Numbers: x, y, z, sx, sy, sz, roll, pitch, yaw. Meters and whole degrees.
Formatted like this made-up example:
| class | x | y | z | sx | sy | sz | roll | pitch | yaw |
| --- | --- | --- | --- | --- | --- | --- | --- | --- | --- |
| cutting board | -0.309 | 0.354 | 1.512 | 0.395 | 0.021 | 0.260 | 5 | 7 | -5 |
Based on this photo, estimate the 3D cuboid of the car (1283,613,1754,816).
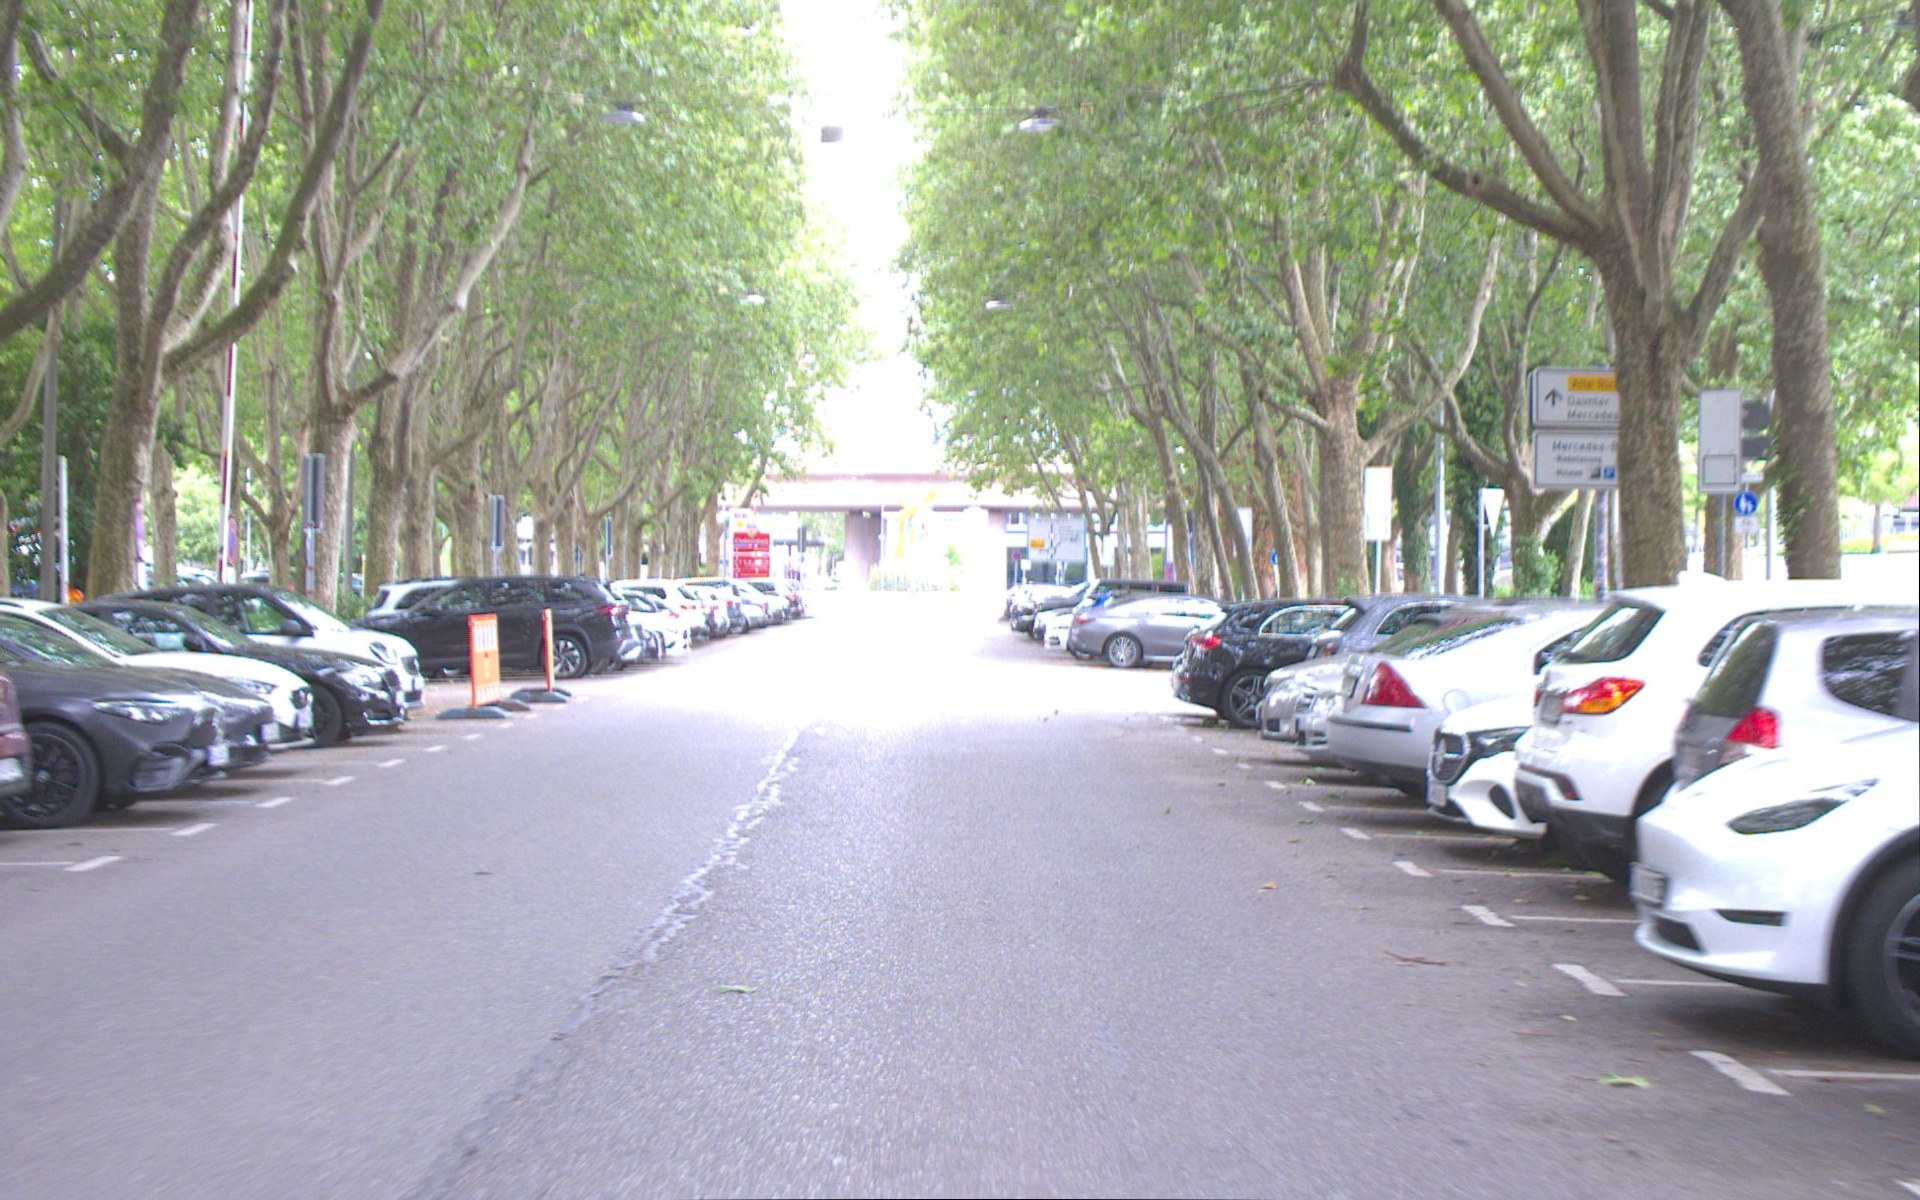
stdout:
| class | x | y | z | sx | sy | sz | roll | pitch | yaw |
| --- | --- | --- | --- | --- | --- | --- | --- | --- | --- |
| car | 4.317 | 0.871 | 26.894 | 3.425 | 1.419 | 1.519 | 2 | 0 | 2 |

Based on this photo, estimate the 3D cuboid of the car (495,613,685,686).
| class | x | y | z | sx | sy | sz | roll | pitch | yaw |
| --- | --- | --- | --- | --- | --- | --- | --- | --- | --- |
| car | -8.005 | 1.064 | 74.480 | 3.814 | 1.479 | 1.662 | -1 | 0 | 5 |

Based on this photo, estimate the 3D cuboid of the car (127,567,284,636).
| class | x | y | z | sx | sy | sz | roll | pitch | yaw |
| --- | --- | --- | --- | --- | --- | --- | --- | --- | --- |
| car | -23.806 | 0.037 | 108.610 | 4.352 | 2.008 | 2.175 | 2 | 0 | 3 |

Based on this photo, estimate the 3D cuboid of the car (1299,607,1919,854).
| class | x | y | z | sx | sy | sz | roll | pitch | yaw |
| --- | --- | --- | --- | --- | --- | --- | --- | --- | --- |
| car | 4.196 | 0.820 | 22.389 | 3.645 | 1.419 | 1.985 | 2 | 0 | -4 |

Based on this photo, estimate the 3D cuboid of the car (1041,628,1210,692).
| class | x | y | z | sx | sy | sz | roll | pitch | yaw |
| --- | --- | --- | --- | --- | --- | --- | --- | --- | --- |
| car | 4.139 | 1.500 | 86.362 | 4.048 | 1.464 | 1.731 | 2 | 0 | -3 |

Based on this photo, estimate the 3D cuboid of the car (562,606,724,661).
| class | x | y | z | sx | sy | sz | roll | pitch | yaw |
| --- | --- | --- | --- | --- | --- | --- | --- | --- | --- |
| car | -8.014 | 0.843 | 87.103 | 3.814 | 1.292 | 1.785 | -1 | 0 | 5 |

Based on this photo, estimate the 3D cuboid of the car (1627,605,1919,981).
| class | x | y | z | sx | sy | sz | roll | pitch | yaw |
| --- | --- | --- | --- | --- | --- | --- | --- | --- | --- |
| car | 4.944 | 0.840 | 15.021 | 3.645 | 1.514 | 1.644 | 2 | 0 | -4 |

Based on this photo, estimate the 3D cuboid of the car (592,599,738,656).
| class | x | y | z | sx | sy | sz | roll | pitch | yaw |
| --- | --- | --- | --- | --- | --- | --- | --- | --- | --- |
| car | -8.295 | 0.775 | 96.778 | 3.814 | 1.510 | 1.686 | -1 | 0 | 5 |

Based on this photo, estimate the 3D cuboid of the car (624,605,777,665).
| class | x | y | z | sx | sy | sz | roll | pitch | yaw |
| --- | --- | --- | --- | --- | --- | --- | --- | --- | --- |
| car | -6.910 | 0.926 | 91.747 | 3.814 | 1.510 | 1.686 | -1 | 0 | 5 |

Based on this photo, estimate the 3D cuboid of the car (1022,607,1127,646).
| class | x | y | z | sx | sy | sz | roll | pitch | yaw |
| --- | --- | --- | --- | --- | --- | --- | --- | --- | --- |
| car | 4.828 | 1.109 | 145.879 | 4.376 | 1.517 | 1.731 | 2 | 0 | 1 |

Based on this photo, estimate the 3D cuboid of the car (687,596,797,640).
| class | x | y | z | sx | sy | sz | roll | pitch | yaw |
| --- | --- | --- | --- | --- | --- | --- | --- | --- | --- |
| car | -7.976 | 0.672 | 126.103 | 3.814 | 1.510 | 1.686 | 1 | 0 | 3 |

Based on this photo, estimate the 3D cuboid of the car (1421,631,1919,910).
| class | x | y | z | sx | sy | sz | roll | pitch | yaw |
| --- | --- | --- | --- | --- | --- | --- | --- | --- | --- |
| car | 4.552 | 0.944 | 19.225 | 3.645 | 1.405 | 1.519 | 2 | 0 | -4 |

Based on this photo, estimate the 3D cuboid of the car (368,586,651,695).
| class | x | y | z | sx | sy | sz | roll | pitch | yaw |
| --- | --- | --- | --- | --- | --- | --- | --- | --- | --- |
| car | -7.442 | 0.666 | 57.099 | 4.471 | 1.671 | 1.762 | -1 | 0 | -2 |

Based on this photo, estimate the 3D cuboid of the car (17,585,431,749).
| class | x | y | z | sx | sy | sz | roll | pitch | yaw |
| --- | --- | --- | --- | --- | --- | --- | --- | --- | --- |
| car | -7.331 | 0.650 | 34.518 | 3.826 | 1.549 | 1.694 | -1 | 0 | -3 |

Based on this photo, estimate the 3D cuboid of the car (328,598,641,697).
| class | x | y | z | sx | sy | sz | roll | pitch | yaw |
| --- | --- | --- | --- | --- | --- | --- | --- | --- | --- |
| car | -7.453 | 0.733 | 54.214 | 4.664 | 1.422 | 2.000 | -1 | 0 | -2 |

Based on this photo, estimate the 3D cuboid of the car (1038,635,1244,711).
| class | x | y | z | sx | sy | sz | roll | pitch | yaw |
| --- | --- | --- | --- | --- | --- | --- | --- | --- | --- |
| car | 3.775 | 1.506 | 71.388 | 4.176 | 1.437 | 1.731 | 2 | 0 | 5 |

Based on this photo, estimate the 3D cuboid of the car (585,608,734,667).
| class | x | y | z | sx | sy | sz | roll | pitch | yaw |
| --- | --- | --- | --- | --- | --- | --- | --- | --- | --- |
| car | -8.275 | 1.027 | 94.733 | 3.814 | 1.510 | 1.686 | -1 | 0 | 5 |

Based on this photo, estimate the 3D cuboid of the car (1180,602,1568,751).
| class | x | y | z | sx | sy | sz | roll | pitch | yaw |
| --- | --- | --- | --- | --- | --- | --- | --- | --- | --- |
| car | 4.415 | 0.807 | 37.024 | 3.918 | 1.447 | 1.555 | 2 | 0 | -1 |

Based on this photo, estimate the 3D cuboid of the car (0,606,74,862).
| class | x | y | z | sx | sy | sz | roll | pitch | yaw |
| --- | --- | --- | --- | --- | --- | --- | --- | --- | --- |
| car | -7.257 | 0.775 | 19.794 | 3.827 | 1.425 | 1.694 | -1 | 0 | 4 |

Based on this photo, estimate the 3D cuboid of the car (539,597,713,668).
| class | x | y | z | sx | sy | sz | roll | pitch | yaw |
| --- | --- | --- | --- | --- | --- | --- | --- | --- | --- |
| car | -7.920 | 0.767 | 81.726 | 3.814 | 1.597 | 1.785 | -1 | 0 | 5 |

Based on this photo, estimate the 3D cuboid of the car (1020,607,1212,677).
| class | x | y | z | sx | sy | sz | roll | pitch | yaw |
| --- | --- | --- | --- | --- | --- | --- | --- | --- | --- |
| car | 3.483 | 0.923 | 76.359 | 4.176 | 1.437 | 1.731 | 2 | 0 | 5 |

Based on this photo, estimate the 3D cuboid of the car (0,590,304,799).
| class | x | y | z | sx | sy | sz | roll | pitch | yaw |
| --- | --- | --- | --- | --- | --- | --- | --- | --- | --- |
| car | -6.777 | 0.680 | 24.746 | 3.826 | 1.425 | 1.694 | -1 | -1 | -3 |

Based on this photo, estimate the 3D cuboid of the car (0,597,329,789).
| class | x | y | z | sx | sy | sz | roll | pitch | yaw |
| --- | --- | --- | --- | --- | --- | --- | --- | --- | --- |
| car | -7.316 | 0.723 | 26.956 | 4.401 | 1.425 | 1.694 | -1 | 0 | 1 |

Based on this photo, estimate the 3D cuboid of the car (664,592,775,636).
| class | x | y | z | sx | sy | sz | roll | pitch | yaw |
| --- | --- | --- | --- | --- | --- | --- | --- | --- | --- |
| car | -8.671 | 0.509 | 124.041 | 3.814 | 1.510 | 1.686 | 1 | 0 | 3 |

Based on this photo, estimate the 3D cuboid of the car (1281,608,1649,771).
| class | x | y | z | sx | sy | sz | roll | pitch | yaw |
| --- | --- | --- | --- | --- | --- | --- | --- | --- | --- |
| car | 5.072 | 0.892 | 34.803 | 3.424 | 1.503 | 1.555 | 2 | 0 | -1 |

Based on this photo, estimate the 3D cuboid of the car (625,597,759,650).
| class | x | y | z | sx | sy | sz | roll | pitch | yaw |
| --- | --- | --- | --- | --- | --- | --- | --- | --- | --- |
| car | -8.147 | 0.697 | 104.765 | 3.814 | 1.510 | 1.686 | -1 | 0 | 5 |

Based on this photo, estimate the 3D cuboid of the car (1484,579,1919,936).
| class | x | y | z | sx | sy | sz | roll | pitch | yaw |
| --- | --- | --- | --- | --- | --- | --- | --- | --- | --- |
| car | 4.627 | 0.783 | 17.301 | 3.645 | 1.661 | 1.519 | 2 | 0 | -4 |

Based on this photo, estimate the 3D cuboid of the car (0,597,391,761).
| class | x | y | z | sx | sy | sz | roll | pitch | yaw |
| --- | --- | --- | --- | --- | --- | --- | --- | --- | --- |
| car | -7.538 | 0.718 | 31.762 | 4.332 | 1.425 | 1.694 | -1 | 0 | -3 |

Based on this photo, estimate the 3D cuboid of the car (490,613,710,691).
| class | x | y | z | sx | sy | sz | roll | pitch | yaw |
| --- | --- | --- | --- | --- | --- | --- | --- | --- | --- |
| car | -6.699 | 0.962 | 64.193 | 3.814 | 1.349 | 1.662 | -1 | 0 | 5 |

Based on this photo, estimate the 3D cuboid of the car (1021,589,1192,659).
| class | x | y | z | sx | sy | sz | roll | pitch | yaw |
| --- | --- | --- | --- | --- | --- | --- | --- | --- | --- |
| car | 3.894 | 0.631 | 91.767 | 4.376 | 1.745 | 1.731 | 2 | 0 | -3 |

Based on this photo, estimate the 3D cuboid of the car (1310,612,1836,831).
| class | x | y | z | sx | sy | sz | roll | pitch | yaw |
| --- | --- | --- | --- | --- | --- | --- | --- | --- | --- |
| car | 4.363 | 0.854 | 24.738 | 3.424 | 1.419 | 1.519 | 2 | 0 | -4 |

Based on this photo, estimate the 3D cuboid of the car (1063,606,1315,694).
| class | x | y | z | sx | sy | sz | roll | pitch | yaw |
| --- | --- | --- | --- | --- | --- | --- | --- | --- | --- |
| car | 4.272 | 0.917 | 64.127 | 4.575 | 1.481 | 2.000 | 2 | 0 | 5 |

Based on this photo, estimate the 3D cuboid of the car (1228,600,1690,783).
| class | x | y | z | sx | sy | sz | roll | pitch | yaw |
| --- | --- | --- | --- | --- | --- | --- | --- | --- | --- |
| car | 4.245 | 0.768 | 29.564 | 3.678 | 1.419 | 1.519 | 2 | 0 | -2 |

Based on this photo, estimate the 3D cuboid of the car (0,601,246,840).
| class | x | y | z | sx | sy | sz | roll | pitch | yaw |
| --- | --- | --- | --- | --- | --- | --- | --- | --- | --- |
| car | -6.661 | 0.749 | 21.624 | 4.020 | 1.425 | 1.694 | -1 | 0 | -3 |

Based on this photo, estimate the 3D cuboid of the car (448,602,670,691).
| class | x | y | z | sx | sy | sz | roll | pitch | yaw |
| --- | --- | --- | --- | --- | --- | --- | --- | --- | --- |
| car | -7.191 | 0.824 | 61.915 | 3.813 | 1.479 | 1.662 | -1 | 0 | -2 |

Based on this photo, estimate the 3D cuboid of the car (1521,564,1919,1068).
| class | x | y | z | sx | sy | sz | roll | pitch | yaw |
| --- | --- | --- | --- | --- | --- | --- | --- | --- | --- |
| car | 4.260 | 0.743 | 12.056 | 4.166 | 1.591 | 1.855 | 2 | 0 | -4 |
